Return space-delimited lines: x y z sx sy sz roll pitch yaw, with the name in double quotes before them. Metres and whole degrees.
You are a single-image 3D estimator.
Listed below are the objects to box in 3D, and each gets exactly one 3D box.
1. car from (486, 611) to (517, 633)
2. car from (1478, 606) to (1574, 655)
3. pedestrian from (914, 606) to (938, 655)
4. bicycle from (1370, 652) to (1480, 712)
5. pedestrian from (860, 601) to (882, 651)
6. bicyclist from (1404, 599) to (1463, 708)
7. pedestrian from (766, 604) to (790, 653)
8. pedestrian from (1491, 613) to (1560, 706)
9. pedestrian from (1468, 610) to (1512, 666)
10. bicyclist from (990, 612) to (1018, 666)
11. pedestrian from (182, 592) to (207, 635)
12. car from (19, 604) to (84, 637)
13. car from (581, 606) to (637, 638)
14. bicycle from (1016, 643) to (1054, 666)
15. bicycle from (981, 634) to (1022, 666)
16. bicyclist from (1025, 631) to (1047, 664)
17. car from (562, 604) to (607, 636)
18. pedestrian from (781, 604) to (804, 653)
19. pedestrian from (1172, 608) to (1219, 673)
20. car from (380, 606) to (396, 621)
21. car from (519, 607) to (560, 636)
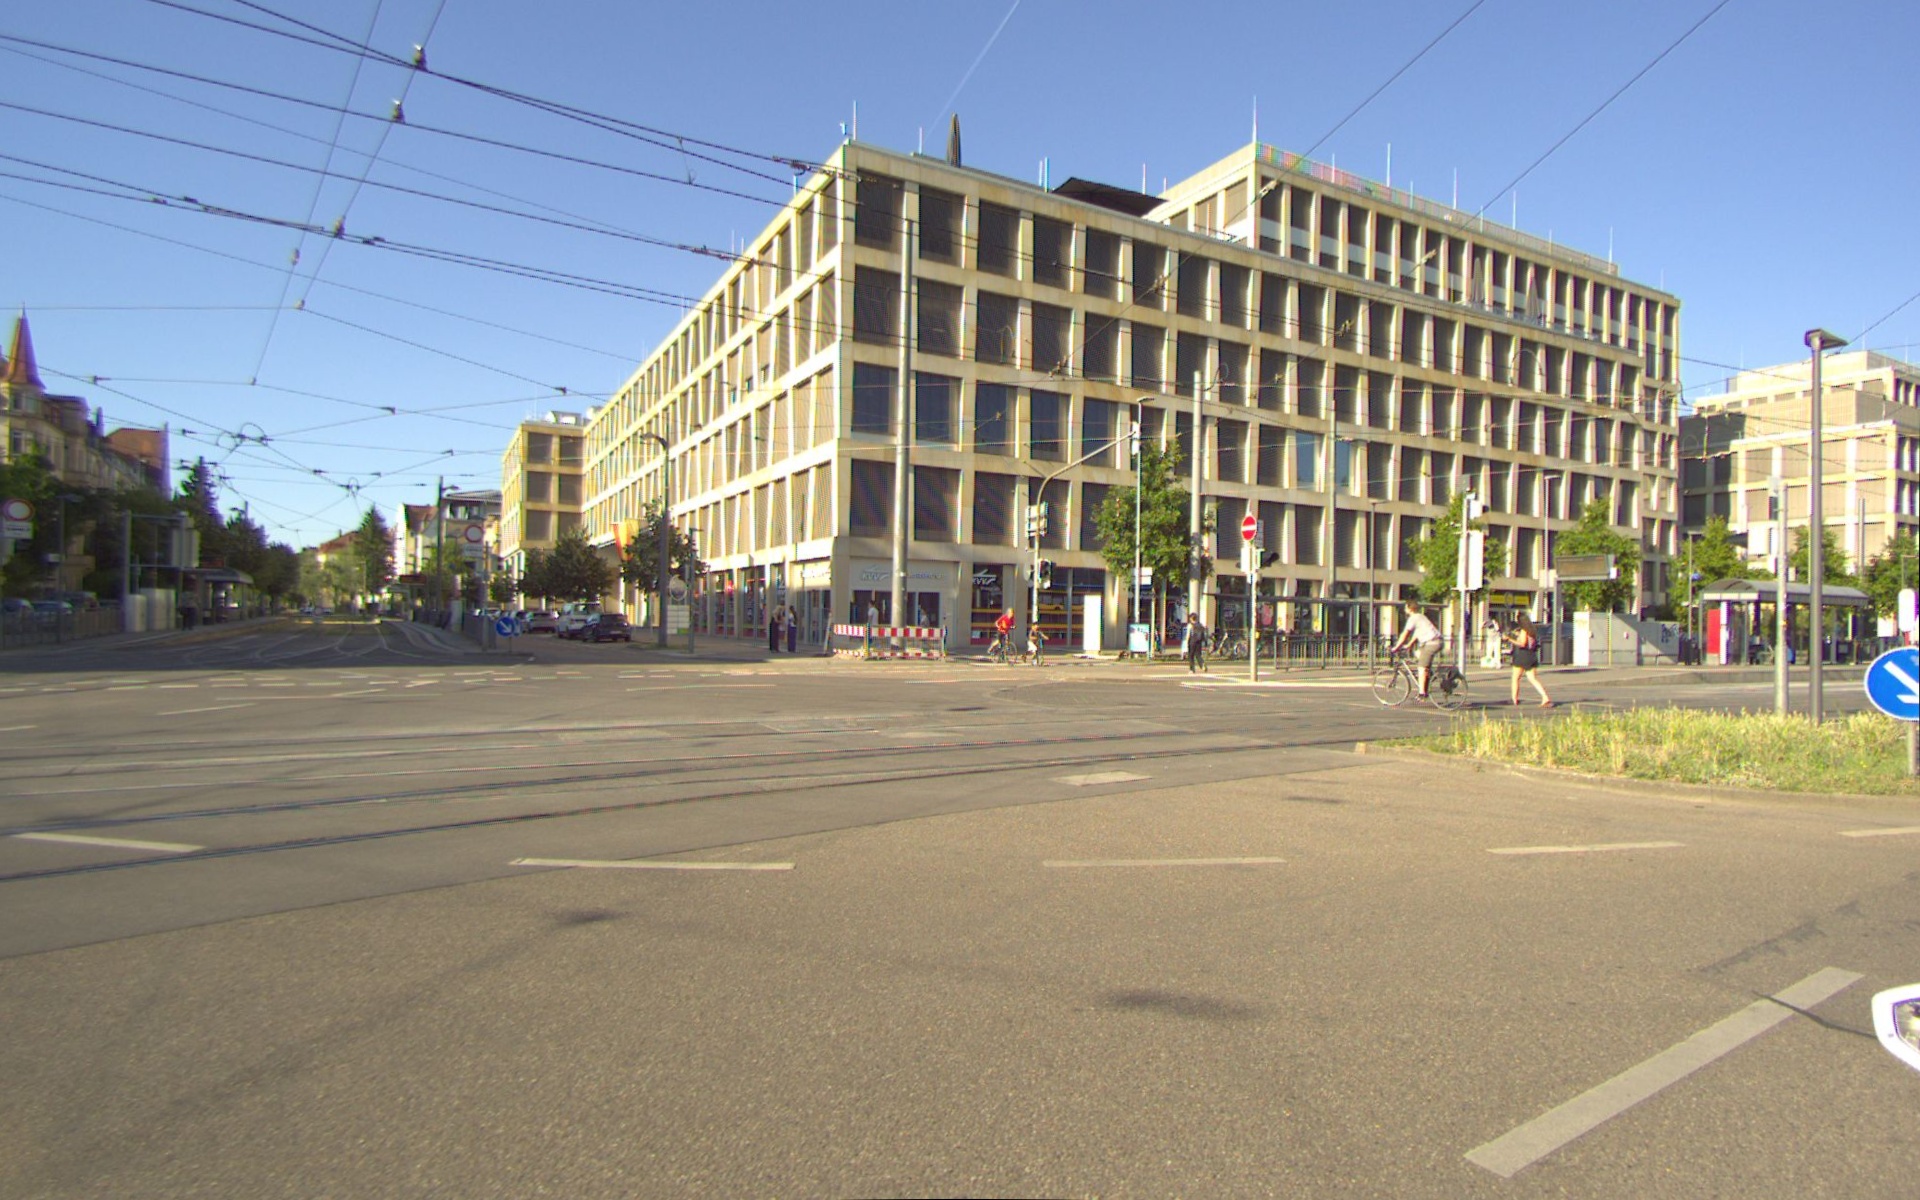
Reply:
"car" -38.430 1.818 84.193 1.977 1.822 3.840 1 -1 -31
"car" 24.612 1.334 43.659 3.954 2.040 1.983 1 -1 -31
"pedestrian" -1.181 1.068 35.066 0.576 1.704 0.612 1 -1 -31
"bicycle" 8.101 1.413 17.590 0.507 0.923 1.877 2 -2 -25
"pedestrian" -3.074 0.900 34.835 0.574 1.704 0.613 1 -1 -23
"bicyclist" 8.190 0.909 17.372 0.639 1.832 0.664 1 -1 -26
"pedestrian" -6.447 1.002 35.588 0.632 1.704 0.611 1 -1 -32
"pedestrian" 10.552 1.093 18.751 0.790 1.666 0.921 1 -1 -42
"pedestrian" 16.004 1.143 30.353 0.921 1.666 0.791 1 -1 -28
"bicyclist" 1.347 1.180 30.870 0.674 1.640 0.627 1 -1 -21
"pedestrian" -30.969 0.544 40.618 0.605 1.704 0.582 0 -1 28
"car" -46.291 1.018 51.239 1.708 1.595 3.966 1 -1 -31
"car" -17.266 1.077 49.335 1.869 1.483 3.967 1 -1 -31
"bicycle" 2.320 1.692 31.306 0.504 0.617 1.719 2 0 -19
"bicycle" 1.270 1.534 31.054 0.598 0.890 1.882 1 -1 -20
"bicyclist" 2.357 1.463 31.154 0.503 1.006 0.461 1 -1 -19
"car" -20.305 1.068 54.243 1.631 1.683 3.620 1 -1 -31
"pedestrian" -5.870 0.989 35.148 0.576 1.704 0.612 1 -1 -31
"pedestrian" 6.203 1.055 26.477 0.790 1.666 0.921 1 -1 -42
"car" -85.112 2.002 149.450 1.977 2.040 3.967 1 -1 -31
"car" -28.300 1.430 67.522 1.977 1.847 3.967 1 -1 -31
